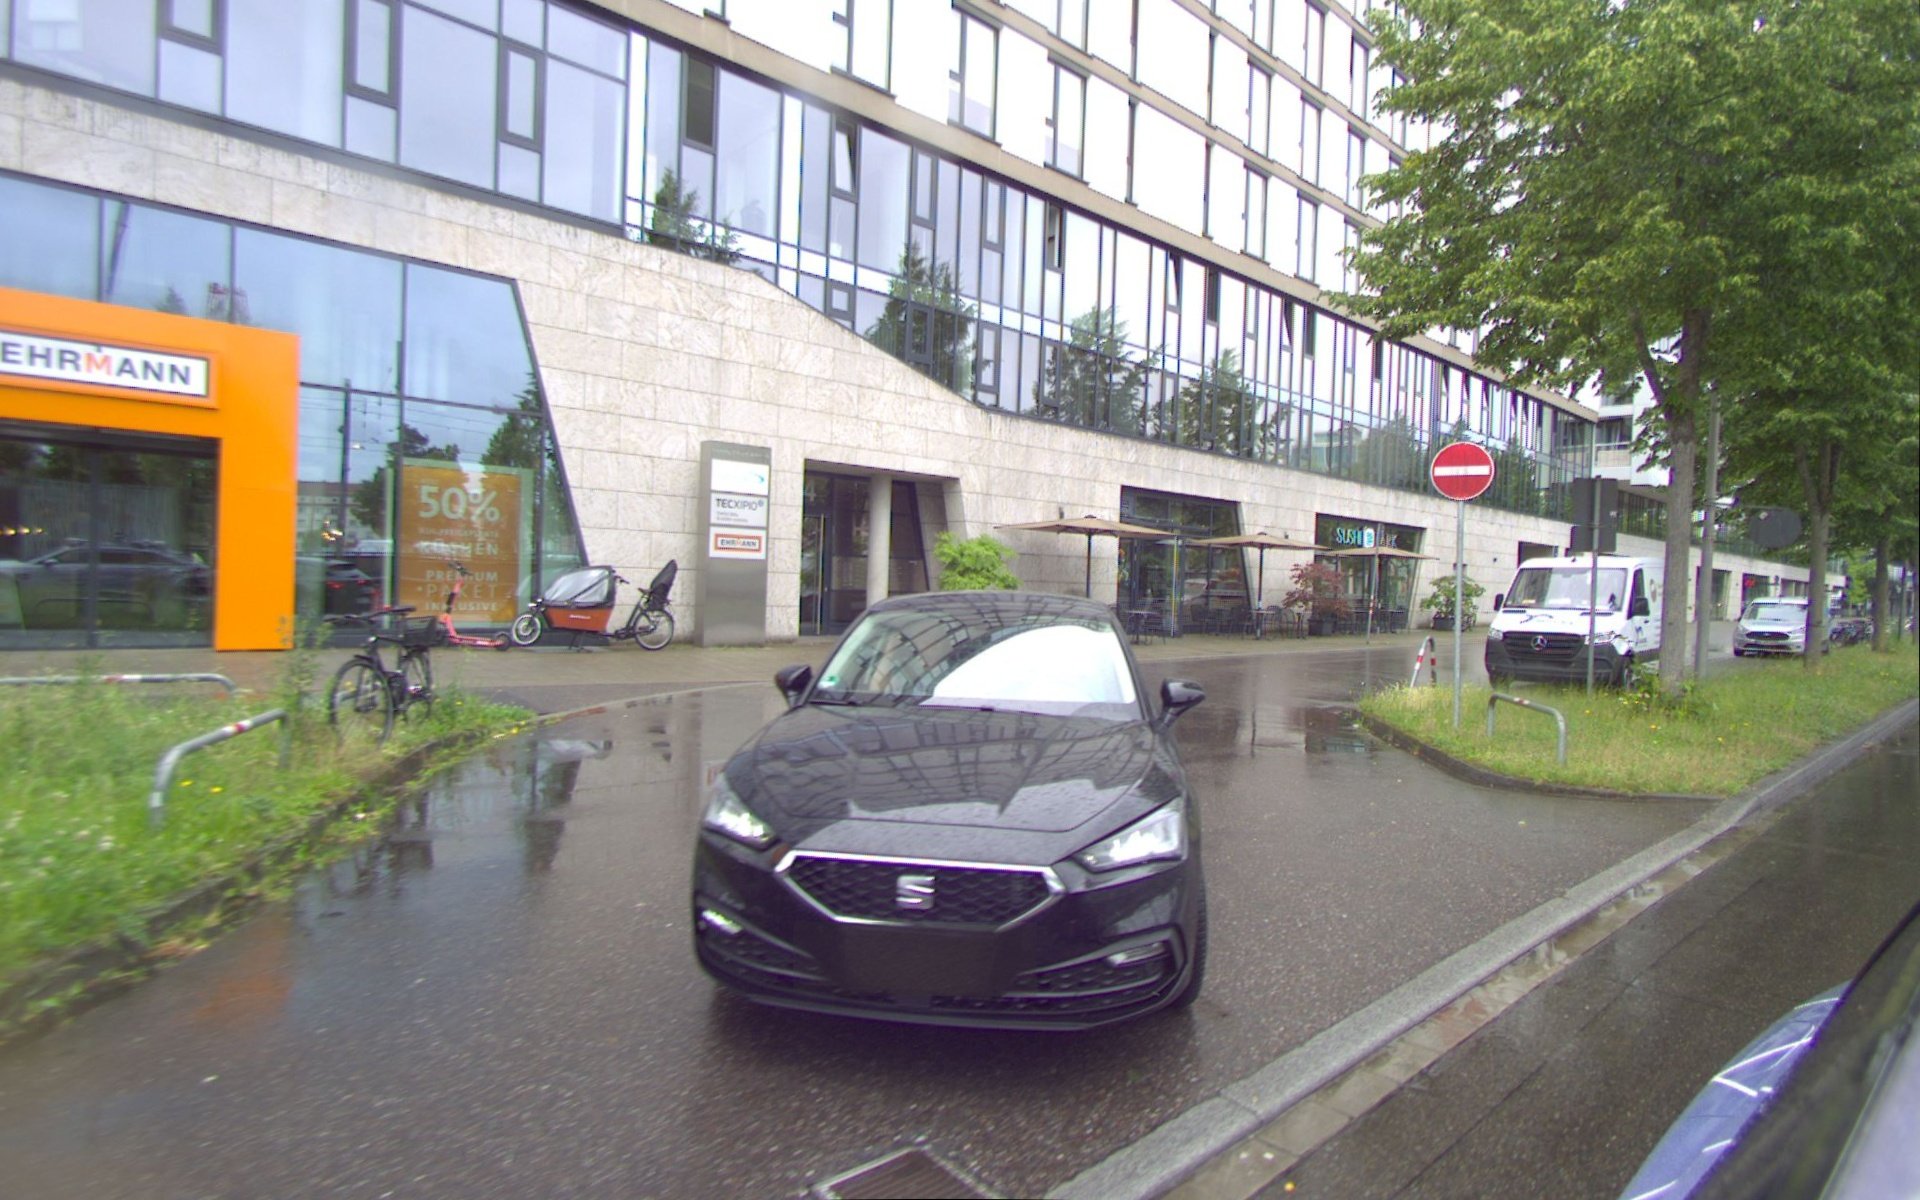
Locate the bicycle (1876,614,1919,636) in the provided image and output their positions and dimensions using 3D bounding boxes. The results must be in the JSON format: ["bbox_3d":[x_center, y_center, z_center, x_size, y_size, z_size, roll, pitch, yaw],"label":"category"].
[{"bbox_3d":[42.280,1.121,45.177,0.511,0.958,2.035,0,-1,-45],"label":"bicycle"}]

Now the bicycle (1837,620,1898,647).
[{"bbox_3d":[33.281,1.224,37.145,0.389,0.958,1.645,0,-1,-45],"label":"bicycle"}]

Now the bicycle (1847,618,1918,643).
[{"bbox_3d":[36.251,1.196,39.800,0.389,0.958,2.035,0,-1,-45],"label":"bicycle"}]

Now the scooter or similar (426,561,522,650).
[{"bbox_3d":[-6.952,0.078,14.523,1.214,1.243,0.343,0,-1,-22],"label":"scooter or similar"}]

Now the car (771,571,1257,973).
[{"bbox_3d":[0.421,0.593,5.956,1.801,1.438,4.338,1,1,7],"label":"car"}]

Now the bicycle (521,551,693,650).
[{"bbox_3d":[-5.381,0.036,15.547,2.382,1.420,0.734,2,-2,-41],"label":"bicycle"}]

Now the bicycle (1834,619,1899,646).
[{"bbox_3d":[33.615,1.202,37.548,0.389,0.958,1.788,0,-1,-45],"label":"bicycle"}]

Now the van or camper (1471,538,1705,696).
[{"bbox_3d":[10.972,0.234,17.487,5.366,2.321,2.028,0,1,-42],"label":"van or camper"}]

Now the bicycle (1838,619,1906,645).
[{"bbox_3d":[34.545,1.198,38.345,0.389,0.958,1.878,0,-1,-45],"label":"bicycle"}]

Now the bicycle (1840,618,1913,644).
[{"bbox_3d":[35.246,1.197,38.939,0.389,0.958,2.035,0,-1,-45],"label":"bicycle"}]

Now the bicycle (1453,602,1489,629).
[{"bbox_3d":[18.489,0.539,36.661,0.388,0.958,2.027,0,0,3],"label":"bicycle"}]

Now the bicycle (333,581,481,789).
[{"bbox_3d":[-4.078,0.557,7.593,0.521,1.363,1.852,2,0,-16],"label":"bicycle"}]

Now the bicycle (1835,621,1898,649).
[{"bbox_3d":[32.323,1.228,36.110,0.389,0.958,1.662,0,-1,-45],"label":"bicycle"}]

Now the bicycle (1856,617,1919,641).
[{"bbox_3d":[38.759,1.193,42.205,0.533,0.958,2.035,0,-1,-45],"label":"bicycle"}]

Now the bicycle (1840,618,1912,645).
[{"bbox_3d":[34.945,1.195,38.630,0.389,0.958,2.002,0,-1,-45],"label":"bicycle"}]

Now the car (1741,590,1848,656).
[{"bbox_3d":[24.624,0.622,29.804,4.765,1.781,1.744,0,1,-42],"label":"car"}]

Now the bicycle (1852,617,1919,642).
[{"bbox_3d":[37.516,1.194,40.981,0.389,0.958,2.035,0,-1,-45],"label":"bicycle"}]

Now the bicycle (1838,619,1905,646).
[{"bbox_3d":[34.158,1.200,37.951,0.389,0.958,1.857,0,-1,-45],"label":"bicycle"}]

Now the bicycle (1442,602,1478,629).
[{"bbox_3d":[17.860,0.539,36.183,0.388,0.958,2.027,0,0,3],"label":"bicycle"}]

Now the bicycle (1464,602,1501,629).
[{"bbox_3d":[19.066,0.540,36.982,0.388,0.958,2.027,0,0,3],"label":"bicycle"}]

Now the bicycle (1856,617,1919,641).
[{"bbox_3d":[38.130,1.193,41.499,0.459,0.958,2.035,0,-1,-45],"label":"bicycle"}]

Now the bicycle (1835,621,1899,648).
[{"bbox_3d":[32.812,1.236,36.617,0.389,0.958,1.694,0,-1,-45],"label":"bicycle"}]

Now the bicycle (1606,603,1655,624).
[{"bbox_3d":[34.653,0.704,52.312,0.389,0.957,2.025,0,2,-45],"label":"bicycle"}]
